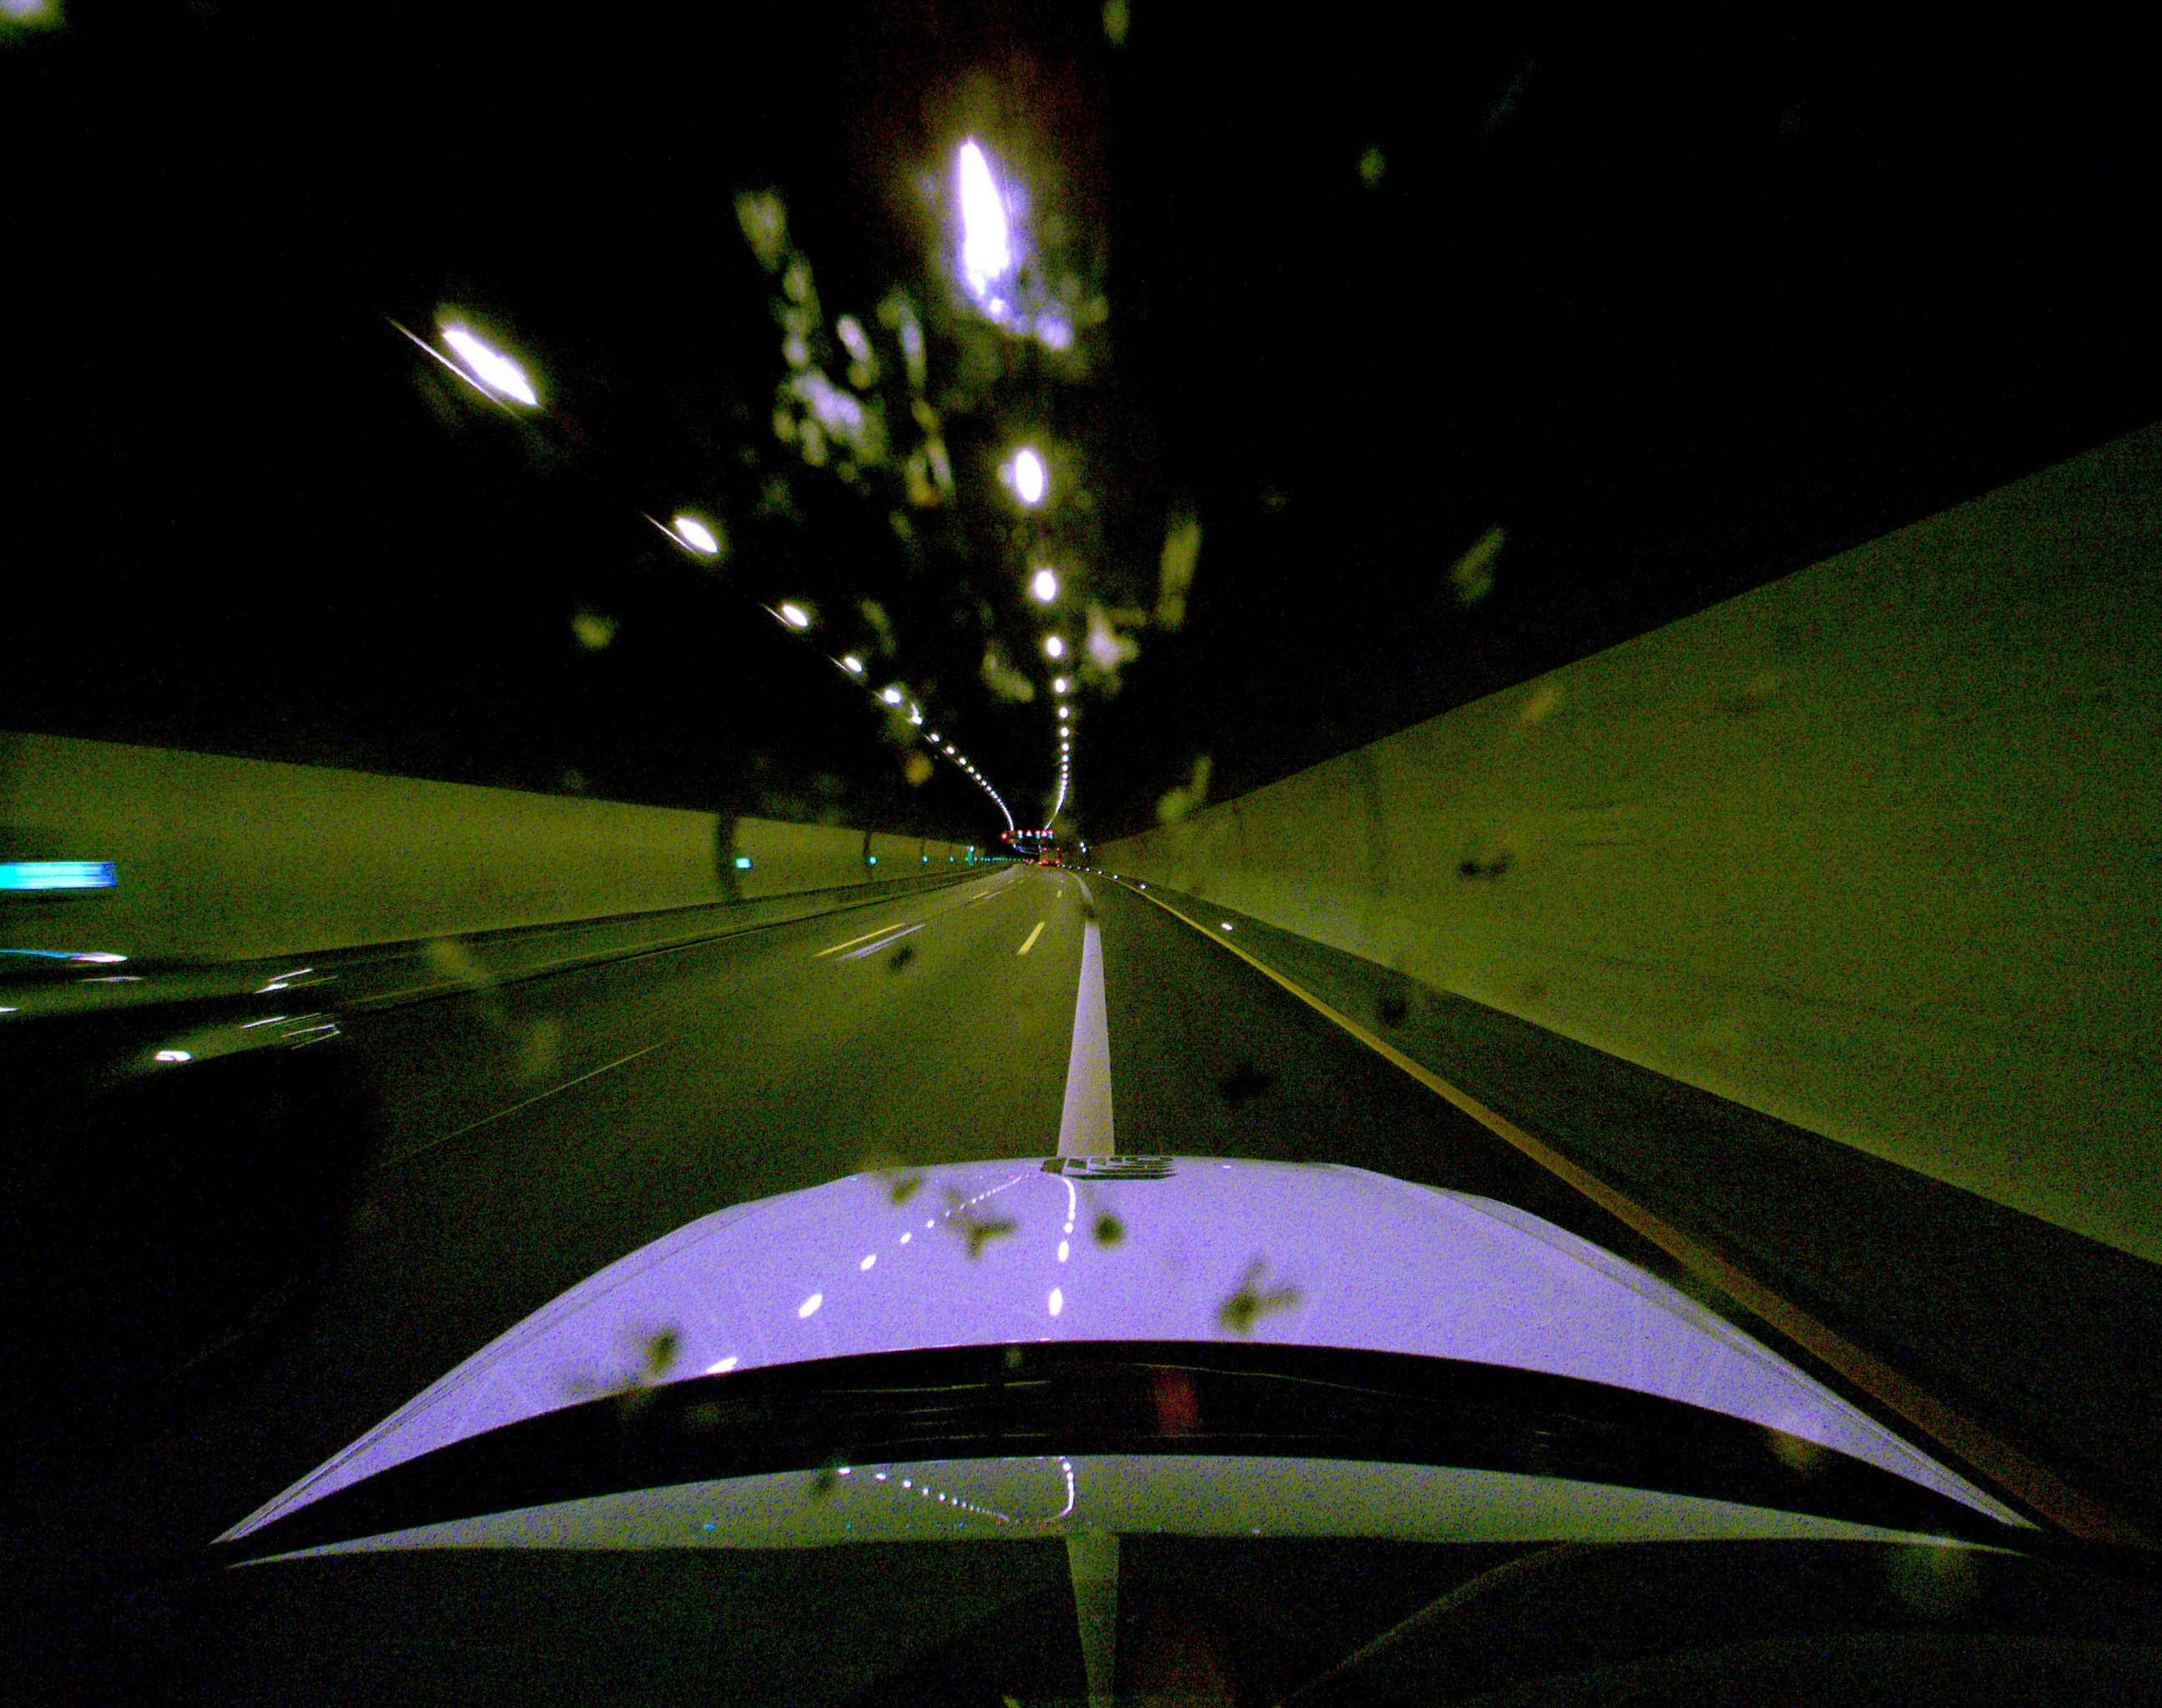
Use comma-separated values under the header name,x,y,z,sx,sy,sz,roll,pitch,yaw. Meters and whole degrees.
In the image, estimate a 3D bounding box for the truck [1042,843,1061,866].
name,x,y,z,sx,sy,sz,roll,pitch,yaw
truck,-5.852,0.067,160.096,3.468,4.316,10.934,0,0,-4

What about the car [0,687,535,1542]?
name,x,y,z,sx,sy,sz,roll,pitch,yaw
car,-3.421,0.565,0.743,1.986,1.895,5.455,0,0,2

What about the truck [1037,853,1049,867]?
name,x,y,z,sx,sy,sz,roll,pitch,yaw
truck,-12.249,1.916,258.483,3.468,4.316,10.934,-1,0,-4

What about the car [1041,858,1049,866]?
name,x,y,z,sx,sy,sz,roll,pitch,yaw
car,-9.719,2.176,219.221,1.989,2.013,3.996,0,0,-3

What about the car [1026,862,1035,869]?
name,x,y,z,sx,sy,sz,roll,pitch,yaw
car,-12.277,2.831,197.957,1.990,1.582,3.993,0,0,-5
